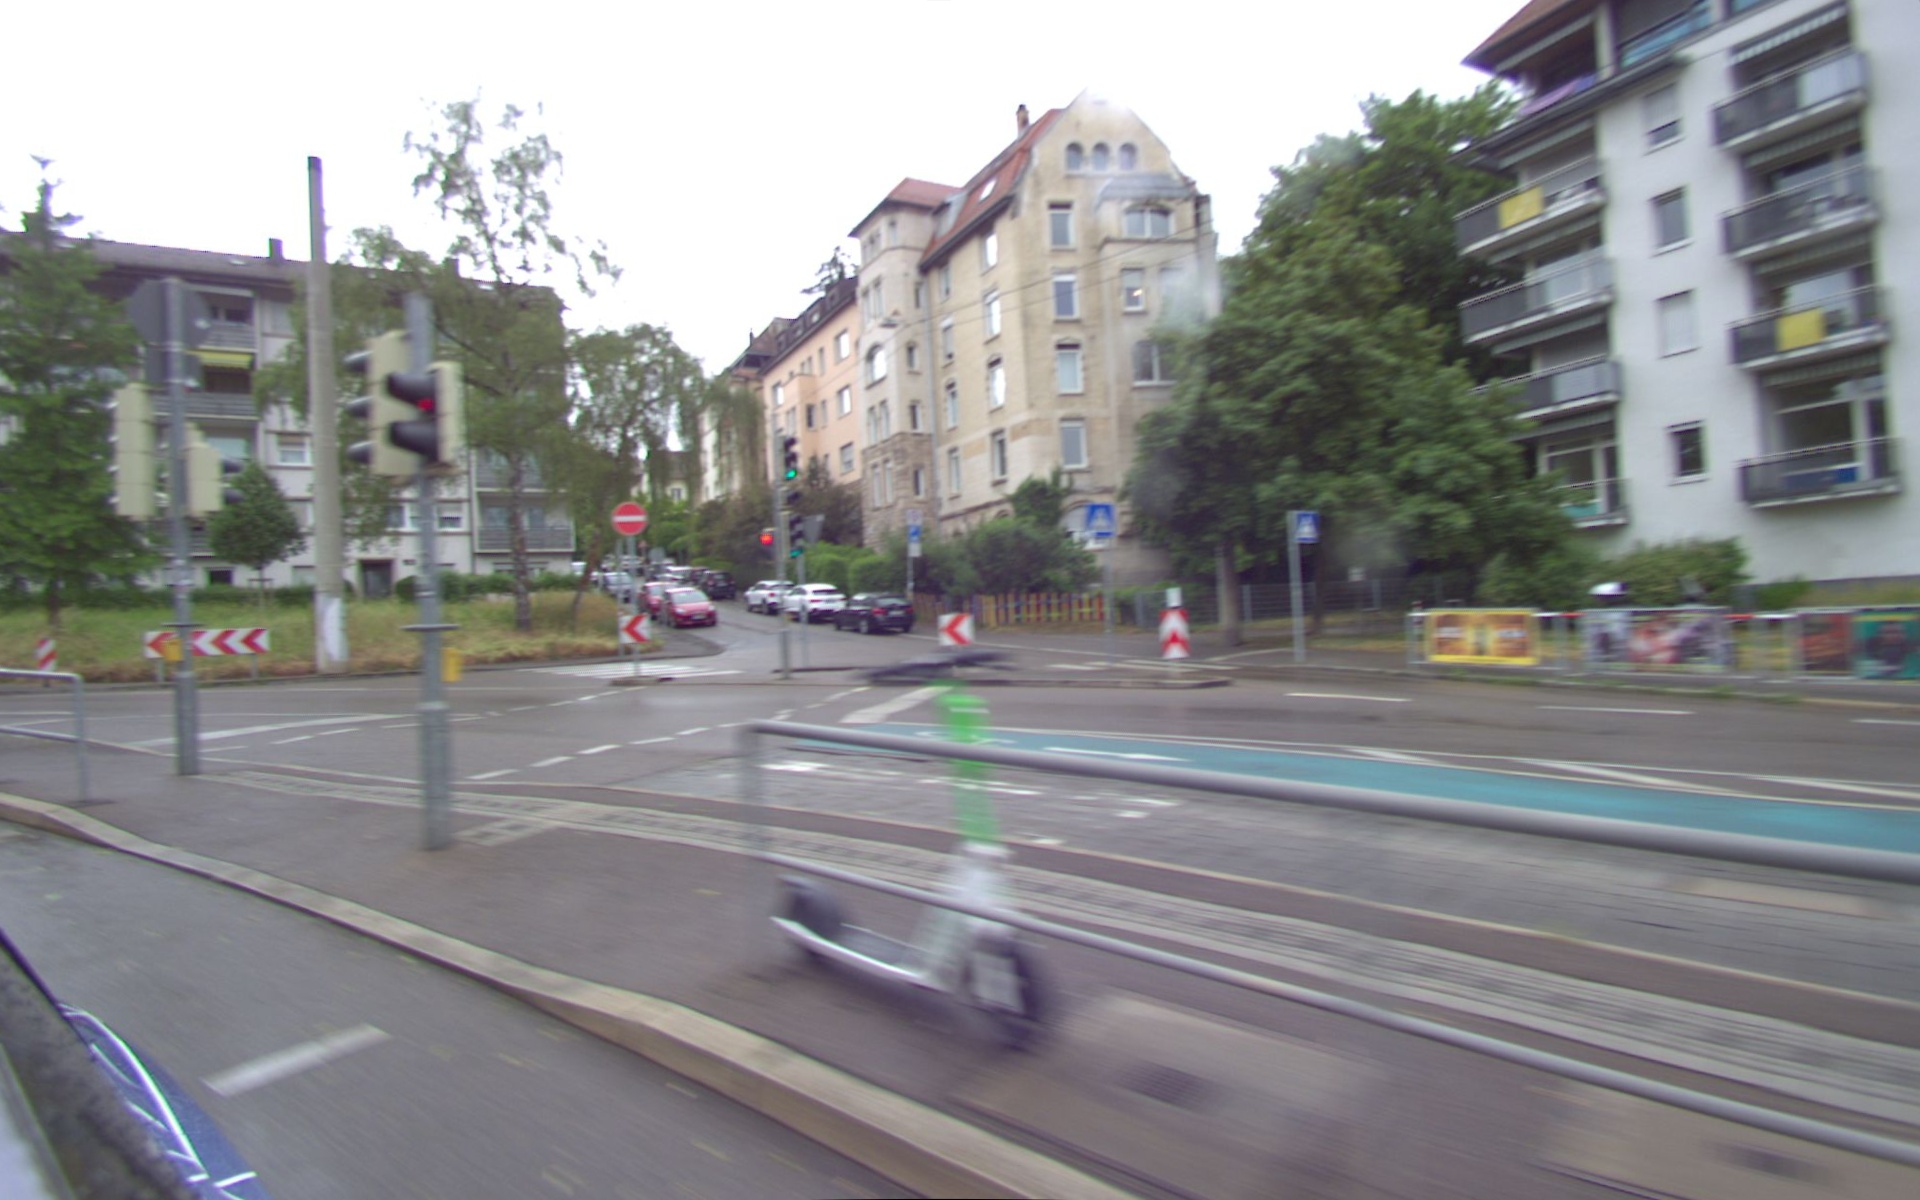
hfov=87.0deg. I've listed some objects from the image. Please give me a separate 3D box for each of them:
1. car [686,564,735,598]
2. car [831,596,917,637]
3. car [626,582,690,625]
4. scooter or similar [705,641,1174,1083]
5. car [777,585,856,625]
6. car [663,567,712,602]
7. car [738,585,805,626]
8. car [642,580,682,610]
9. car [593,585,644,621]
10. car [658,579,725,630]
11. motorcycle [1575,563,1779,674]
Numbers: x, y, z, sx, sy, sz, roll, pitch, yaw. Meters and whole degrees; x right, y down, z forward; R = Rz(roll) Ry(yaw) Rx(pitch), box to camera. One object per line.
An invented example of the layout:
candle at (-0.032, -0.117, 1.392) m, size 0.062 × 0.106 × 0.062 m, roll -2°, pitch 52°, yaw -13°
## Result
car at (-14.222, -1.073, 57.531) m, size 1.652 × 1.849 × 3.677 m, roll -1°, pitch 0°, yaw -31°
car at (-3.214, 0.550, 37.053) m, size 1.723 × 1.232 × 4.371 m, roll 0°, pitch 2°, yaw -25°
car at (-13.898, 0.153, 46.457) m, size 1.775 × 1.849 × 4.297 m, roll -1°, pitch 0°, yaw -31°
scooter or similar at (-0.140, 0.715, 3.318) m, size 1.603 × 1.122 × 0.429 m, roll -1°, pitch 1°, yaw 38°
car at (-6.226, 0.213, 43.436) m, size 1.965 × 1.605 × 4.370 m, roll 0°, pitch 0°, yaw -28°
car at (-16.390, -0.893, 60.756) m, size 1.965 × 2.029 × 4.013 m, roll 0°, pitch 0°, yaw -28°
car at (-9.056, 0.303, 48.358) m, size 1.775 × 1.849 × 4.296 m, roll 1°, pitch -1°, yaw -31°
car at (-19.583, -0.315, 66.436) m, size 1.652 × 1.849 × 3.677 m, roll -1°, pitch 0°, yaw -31°
car at (-18.900, 0.164, 55.912) m, size 1.775 × 1.849 × 4.297 m, roll -1°, pitch 0°, yaw -31°
car at (-11.189, 0.195, 41.999) m, size 1.965 × 2.029 × 4.013 m, roll 0°, pitch -1°, yaw -26°
motorcycle at (11.016, 0.261, 15.658) m, size 0.688 × 1.562 × 2.447 m, roll -5°, pitch 2°, yaw -35°
